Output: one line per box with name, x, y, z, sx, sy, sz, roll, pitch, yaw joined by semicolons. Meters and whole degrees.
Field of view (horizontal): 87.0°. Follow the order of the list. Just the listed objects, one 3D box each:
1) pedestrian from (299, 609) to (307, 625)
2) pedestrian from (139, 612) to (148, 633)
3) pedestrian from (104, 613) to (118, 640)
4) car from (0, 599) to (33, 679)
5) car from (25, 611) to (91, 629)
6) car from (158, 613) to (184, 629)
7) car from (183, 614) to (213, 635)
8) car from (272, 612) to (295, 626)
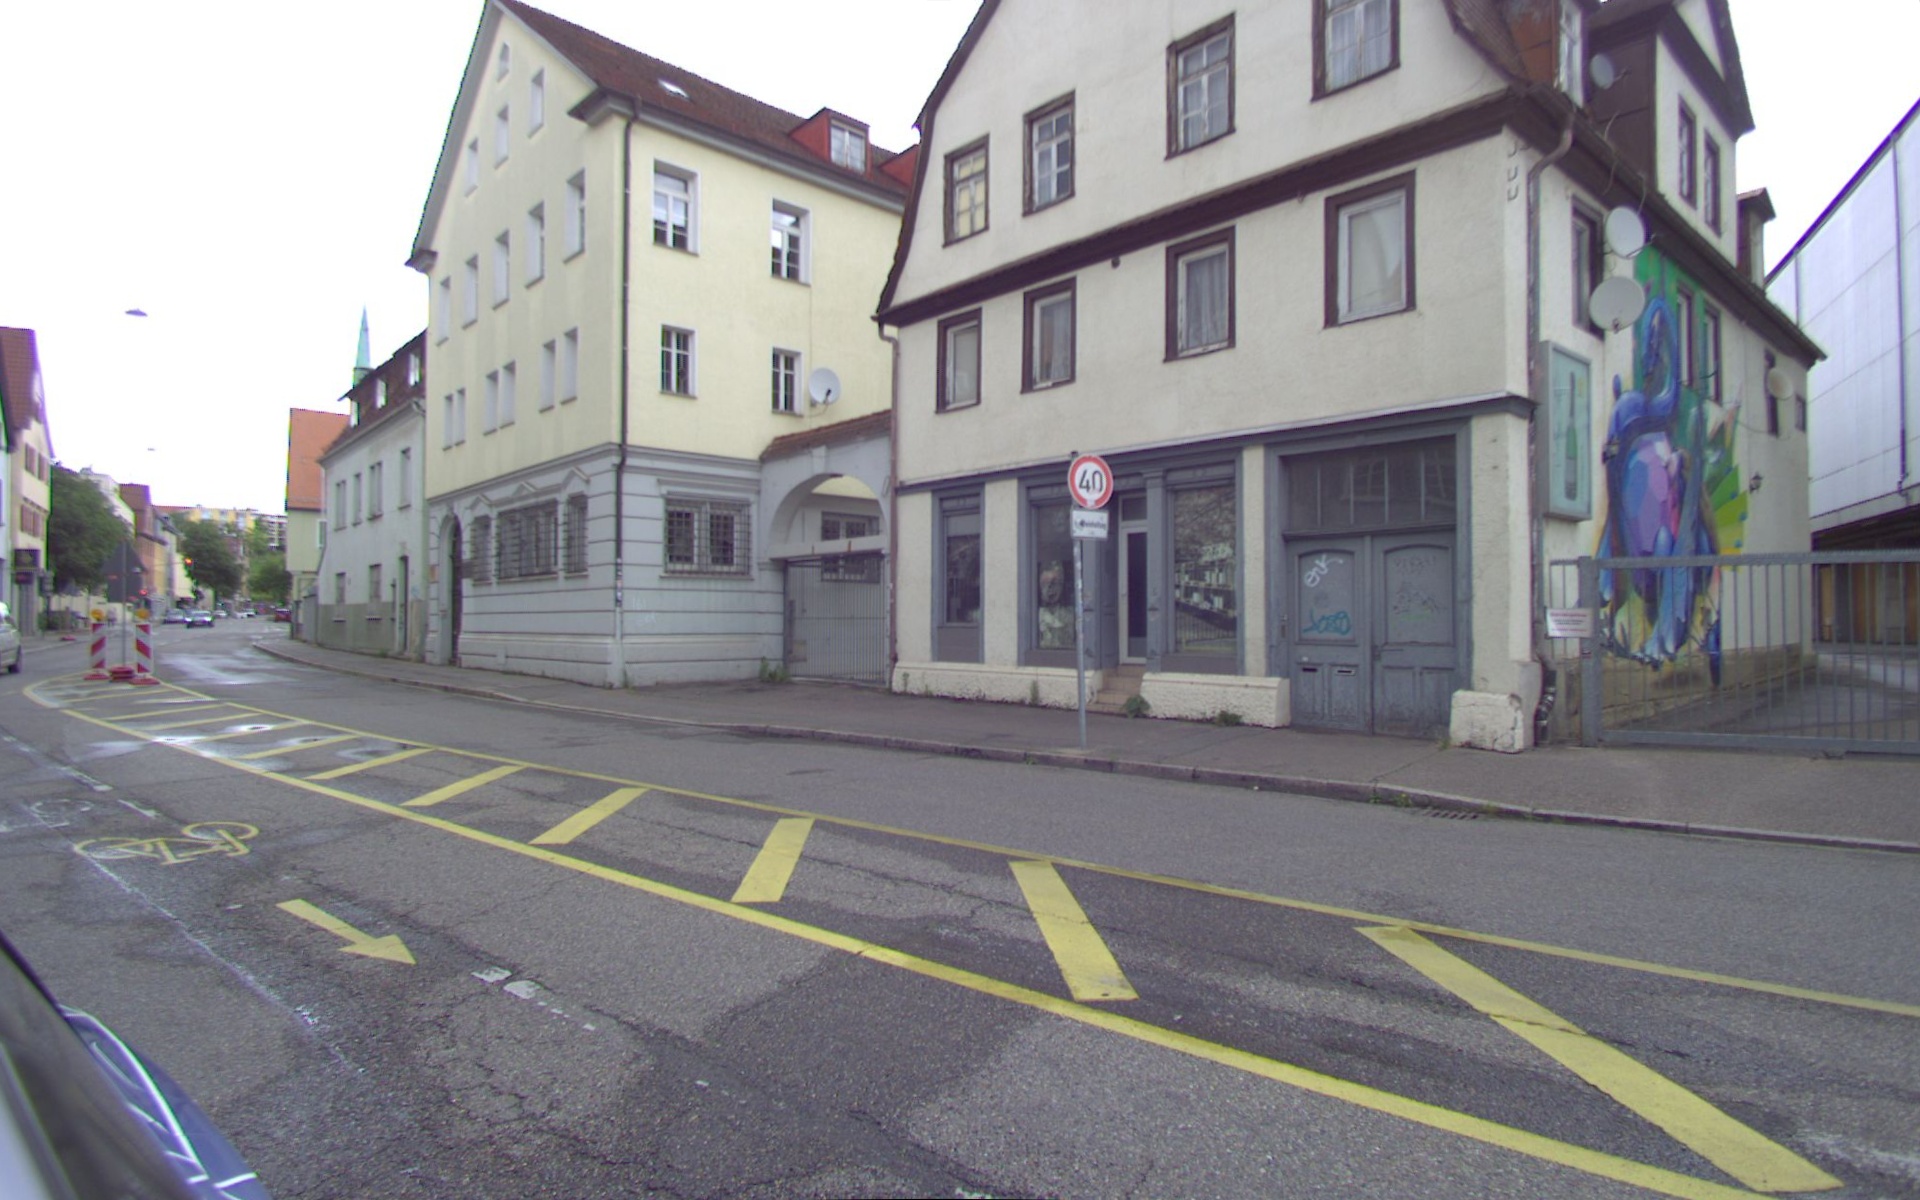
pedestrian;-81.671;2.097;125.847;0.823;2.029;0.847;1;-2;-36
pedestrian;-84.894;2.328;105.196;0.650;2.131;0.647;1;-2;-39
pedestrian;-74.334;2.318;88.629;0.888;2.328;0.822;1;-2;-36
car;-23.135;0.860;23.308;1.966;1.800;4.479;2;-1;-34
car;-77.415;1.704;86.926;3.932;1.475;2.006;0;0;-33
car;-84.954;2.249;109.028;2.001;1.567;4.010;2;-2;-35
car;-67.768;2.159;90.059;1.967;1.691;4.010;0;0;-34
car;-85.859;2.408;128.458;2.178;1.690;4.509;2;-2;-36
